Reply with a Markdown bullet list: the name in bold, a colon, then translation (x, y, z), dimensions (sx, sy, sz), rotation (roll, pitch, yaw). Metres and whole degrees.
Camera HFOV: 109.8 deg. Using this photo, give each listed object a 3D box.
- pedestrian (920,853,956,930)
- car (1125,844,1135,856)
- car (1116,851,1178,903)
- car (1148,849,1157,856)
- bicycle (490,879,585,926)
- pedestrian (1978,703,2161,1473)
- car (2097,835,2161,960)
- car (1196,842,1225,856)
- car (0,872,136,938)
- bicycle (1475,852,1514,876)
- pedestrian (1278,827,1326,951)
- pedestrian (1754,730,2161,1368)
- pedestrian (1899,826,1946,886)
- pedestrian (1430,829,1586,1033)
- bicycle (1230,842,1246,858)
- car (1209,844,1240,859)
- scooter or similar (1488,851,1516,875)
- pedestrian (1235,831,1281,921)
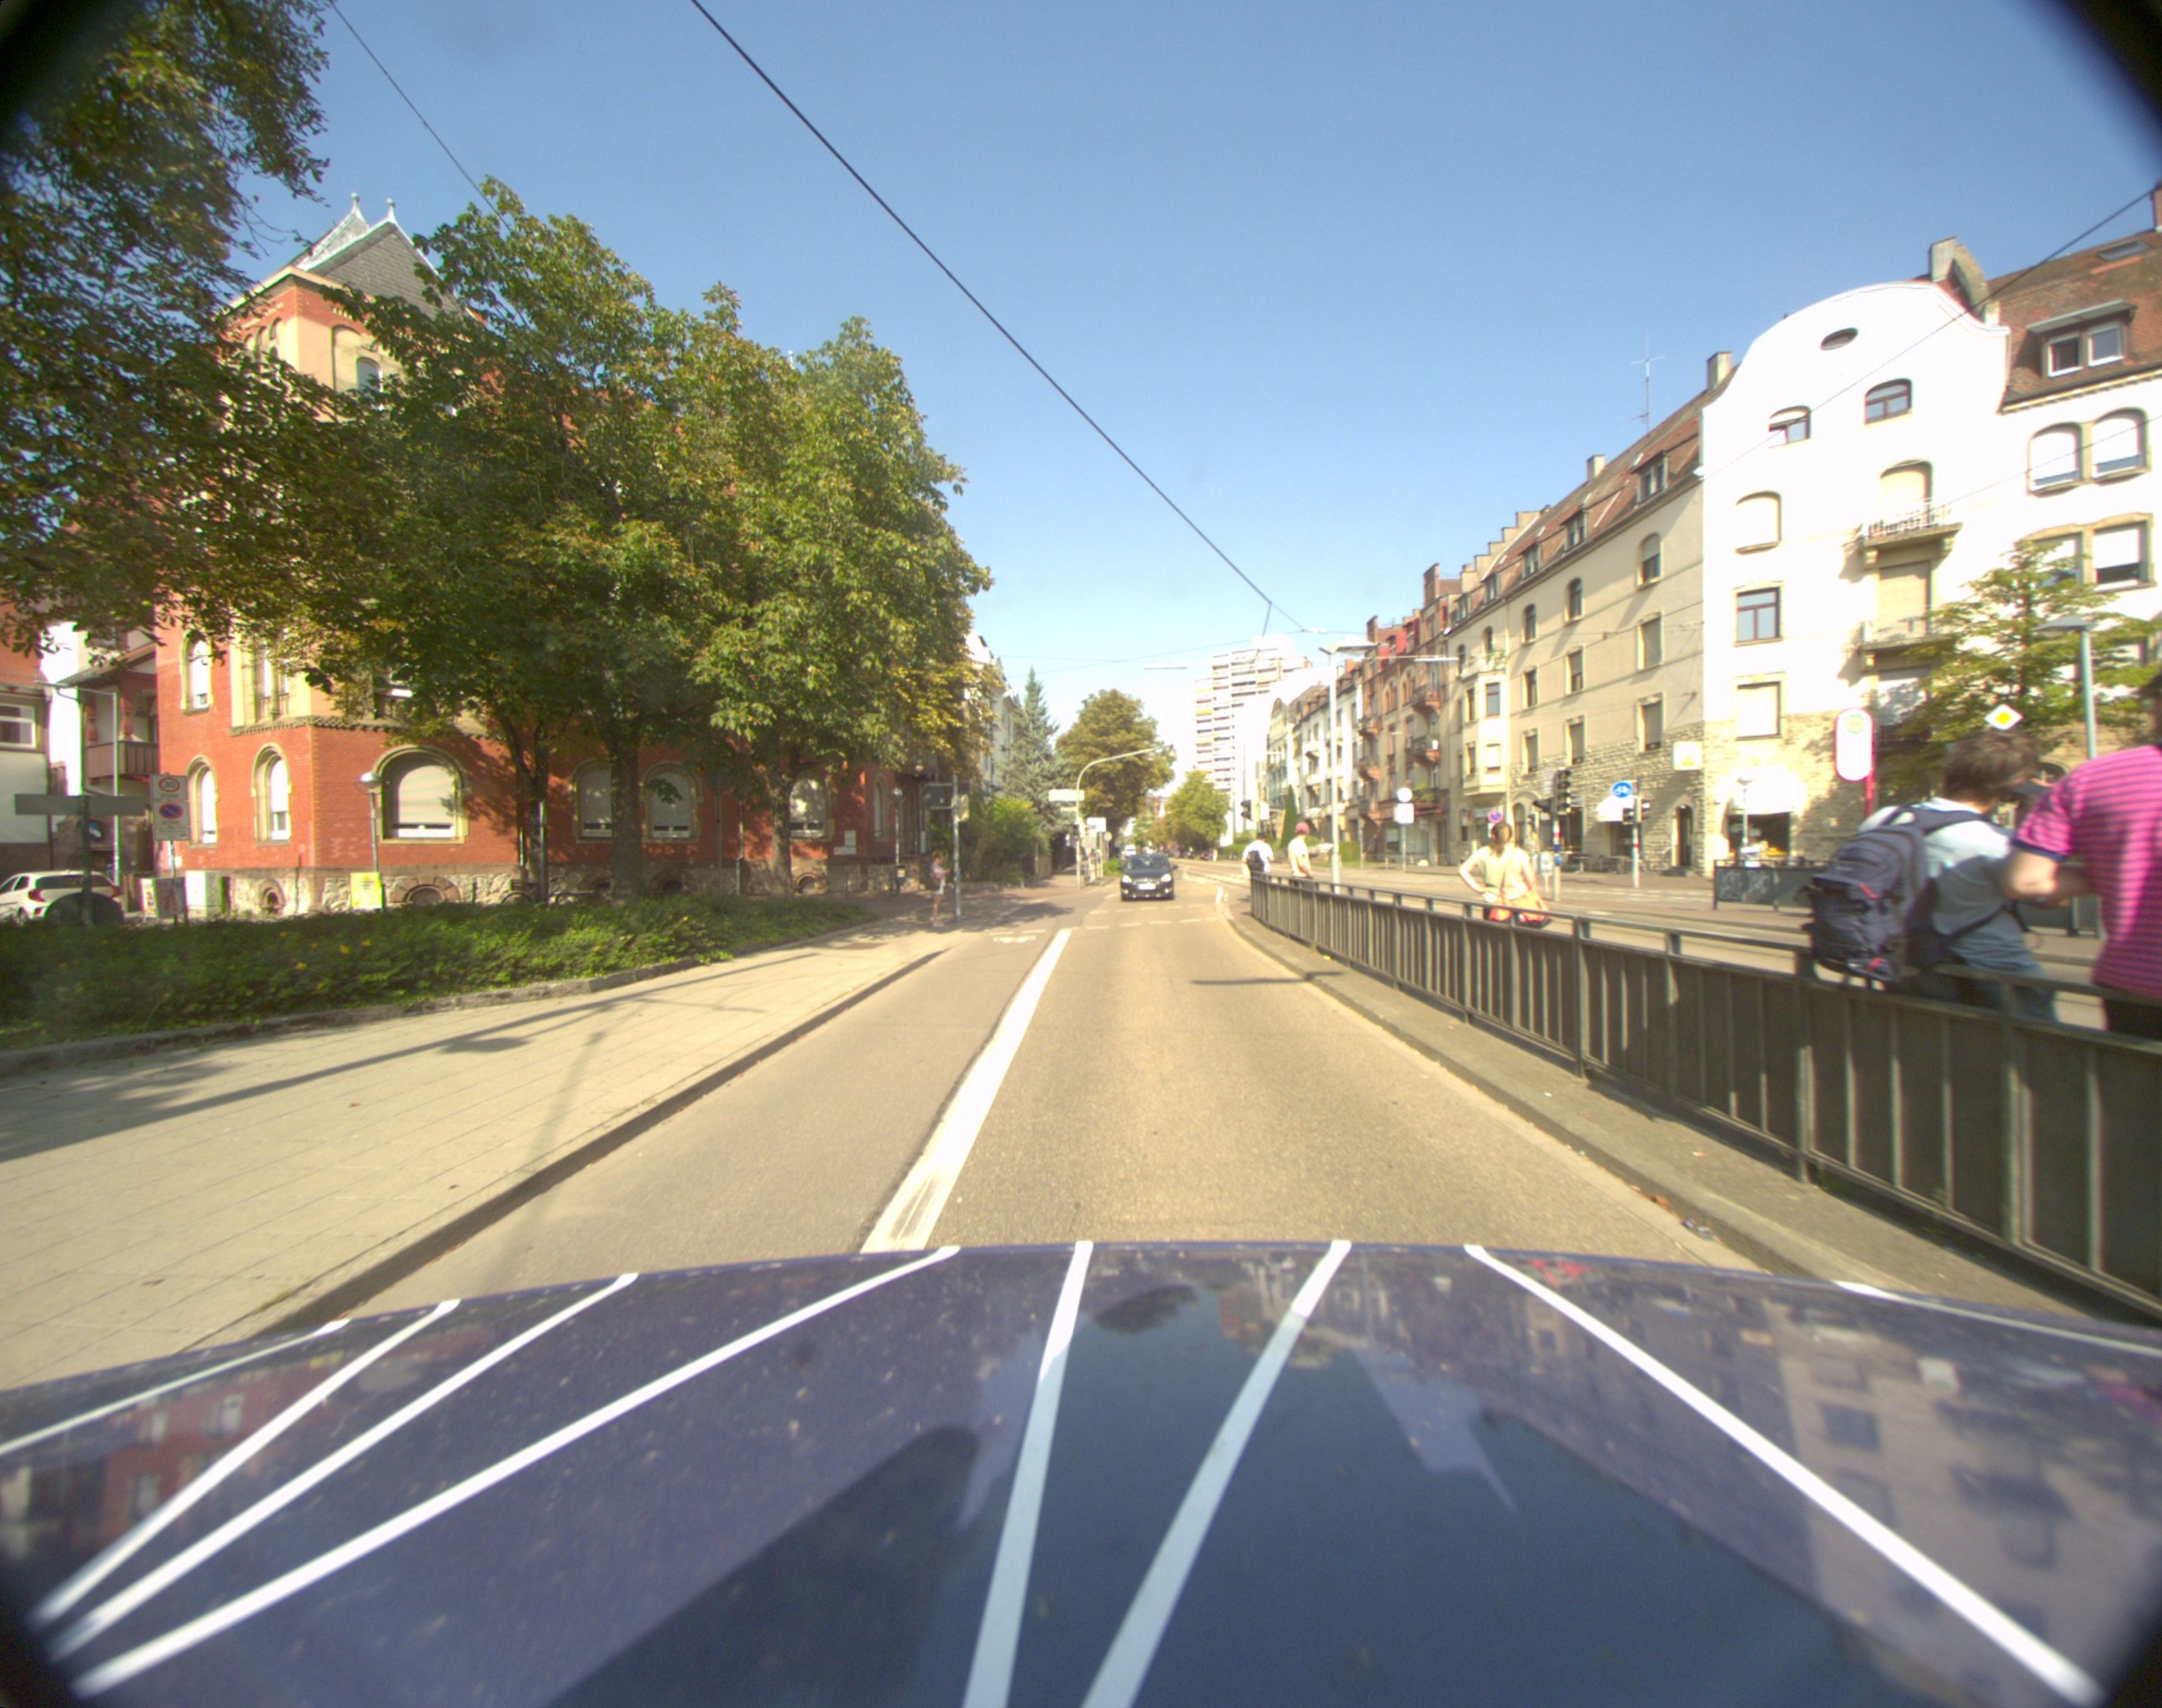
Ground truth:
- **pedestrian**: translation (-3.249, 0.842, 17.289), dimensions (0.543, 1.708, 0.662), rotation (-1, 1, 15)
- **car**: translation (9.900, -0.867, 153.540), dimensions (2.087, 2.264, 4.828), rotation (-1, 1, 3)
- **car**: translation (2.230, 0.685, 24.752), dimensions (1.774, 1.459, 4.002), rotation (-2, 0, 7)
- **car**: translation (16.502, -0.320, 174.563), dimensions (1.997, 1.640, 4.002), rotation (-1, 1, 7)
- **bicycle**: translation (-13.976, 1.227, 19.580), dimensions (0.607, 1.052, 1.843), rotation (-4, 0, 43)
- **pedestrian**: translation (2.894, 0.557, 1.860), dimensions (0.638, 1.837, 0.634), rotation (-1, 1, 4)
- **car**: translation (15.085, 0.578, 8.344), dimensions (1.998, 1.641, 4.483), rotation (-1, 1, 4)
- **car**: translation (20.272, -0.803, 118.537), dimensions (4.005, 2.002, 1.996), rotation (-1, 1, -24)
- **car**: translation (-27.342, 1.309, 20.262), dimensions (3.990, 1.558, 1.624), rotation (-1, 1, 23)
- **bicycle**: translation (19.897, 0.473, 36.618), dimensions (0.546, 1.097, 1.894), rotation (-1, 1, -11)
- **pedestrian**: translation (3.286, 0.505, 11.327), dimensions (0.560, 1.792, 0.676), rotation (-1, 1, 5)
- **pedestrian**: translation (2.822, 0.568, 2.515), dimensions (0.638, 1.837, 0.634), rotation (-1, 1, 4)
- **pedestrian**: translation (26.665, 0.056, 24.088), dimensions (0.735, 1.857, 0.673), rotation (-1, 1, -2)
- **pedestrian**: translation (3.695, 0.619, 6.640), dimensions (0.815, 1.645, 0.866), rotation (-1, 1, -12)
- **bicycle**: translation (19.851, -0.525, 95.982), dimensions (1.015, 1.847, 3.554), rotation (-3, 1, -4)
- **car**: translation (20.792, -0.388, 110.220), dimensions (4.005, 2.002, 1.996), rotation (-1, 1, -24)
- **scooter or similar**: translation (20.532, 0.431, 37.061), dimensions (0.443, 1.151, 1.092), rotation (-2, 1, -35)
- **pedestrian**: translation (3.604, 0.456, 15.557), dimensions (0.730, 1.759, 0.739), rotation (-3, -2, 5)
